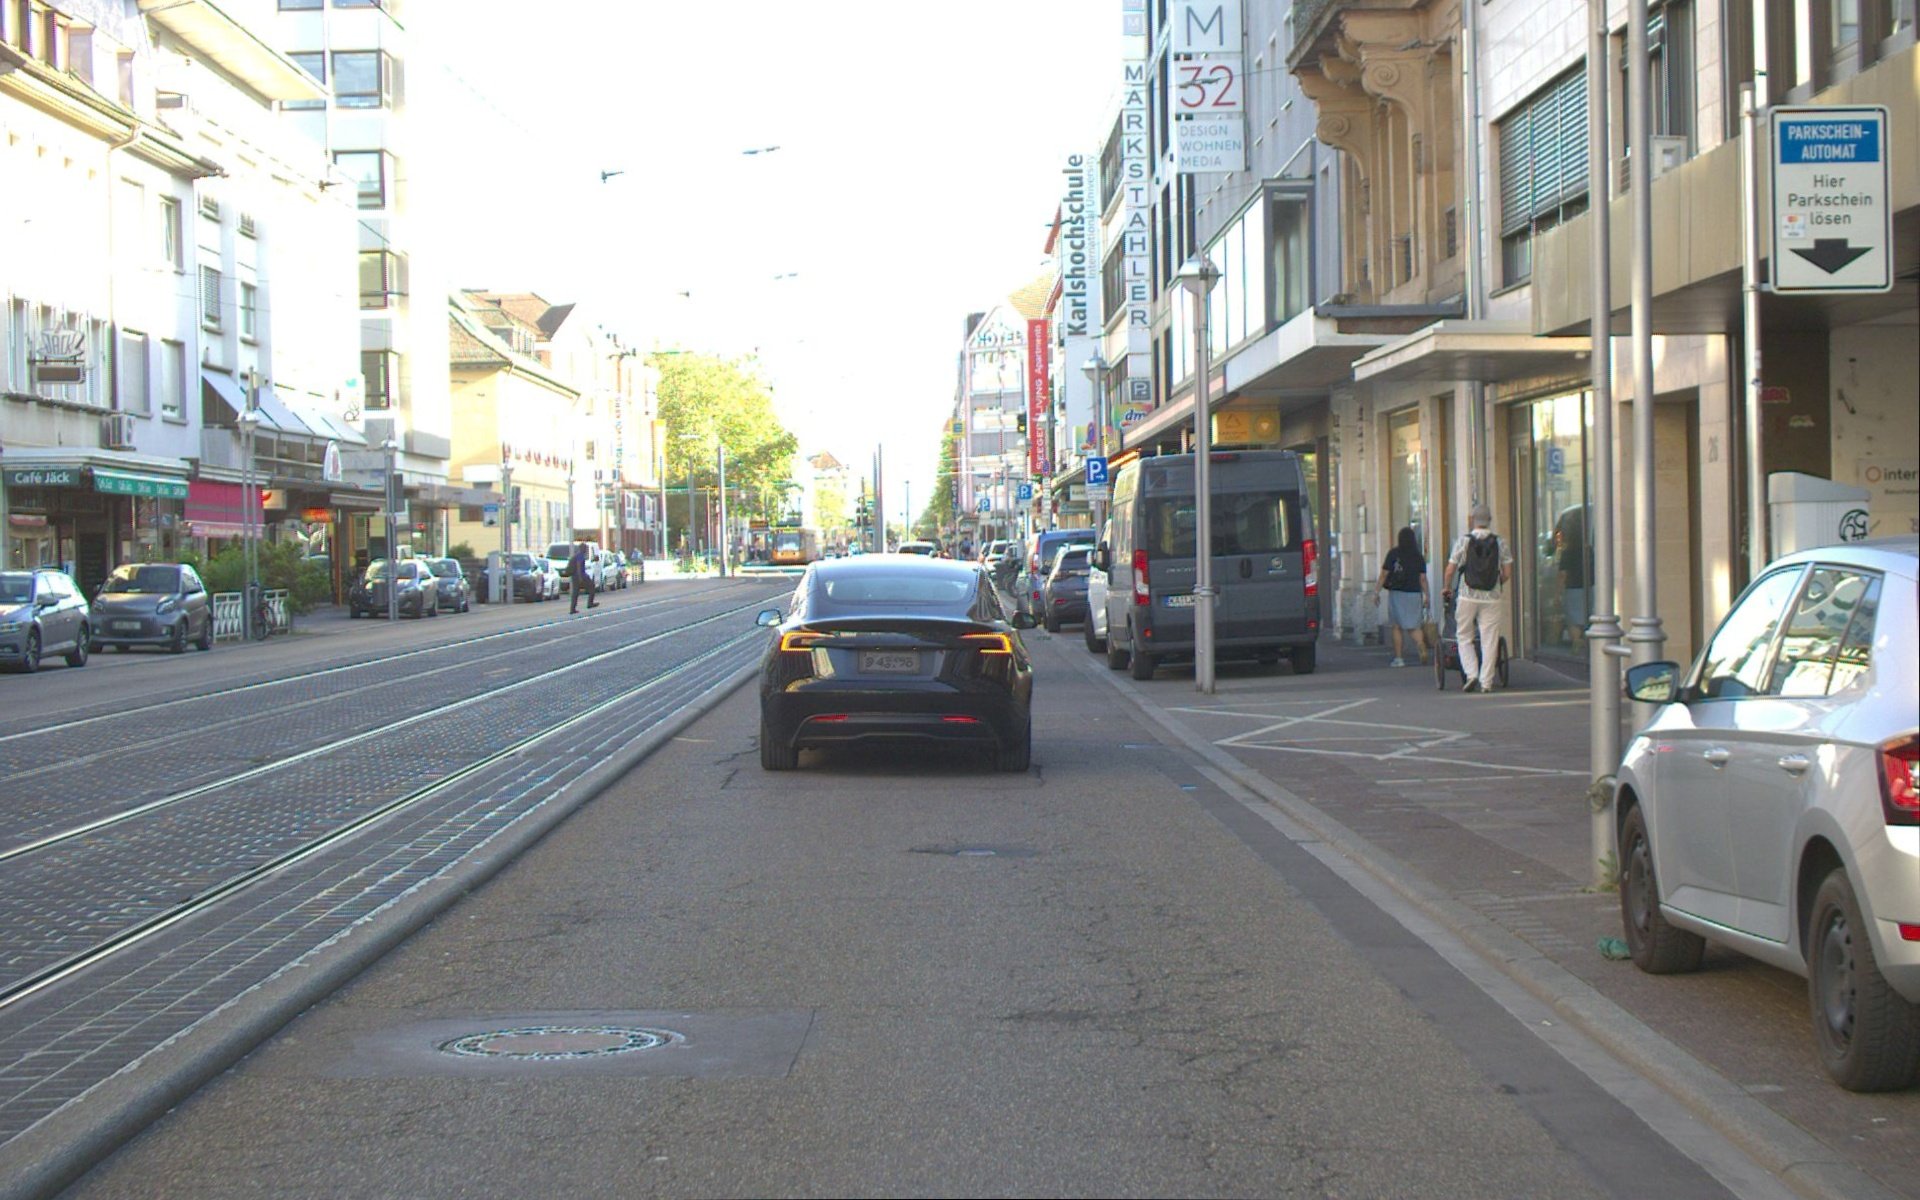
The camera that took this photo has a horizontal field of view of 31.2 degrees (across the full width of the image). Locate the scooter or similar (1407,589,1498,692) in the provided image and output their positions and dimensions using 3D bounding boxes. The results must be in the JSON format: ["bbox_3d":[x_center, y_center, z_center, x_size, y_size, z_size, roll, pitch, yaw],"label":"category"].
[{"bbox_3d":[4.749,0.382,33.222,0.593,0.933,1.299,-3,1,-2],"label":"scooter or similar"}]

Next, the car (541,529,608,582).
[{"bbox_3d":[-14.638,-1.703,130.767,2.009,1.954,4.725,-1,1,-1],"label":"car"}]

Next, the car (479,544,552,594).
[{"bbox_3d":[-14.397,-1.020,111.548,1.718,1.566,3.849,-1,1,2],"label":"car"}]

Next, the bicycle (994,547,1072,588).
[{"bbox_3d":[2.077,-0.927,98.225,2.159,1.093,0.686,-1,1,-2],"label":"bicycle"}]

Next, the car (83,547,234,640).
[{"bbox_3d":[-13.944,-0.134,59.988,1.675,1.540,3.743,1,1,1],"label":"car"}]

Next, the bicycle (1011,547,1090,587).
[{"bbox_3d":[2.556,-0.936,97.339,2.159,1.093,0.686,-1,1,-2],"label":"bicycle"}]

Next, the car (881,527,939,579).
[{"bbox_3d":[-1.832,-1.763,127.851,2.085,1.864,3.754,-1,1,0],"label":"car"}]

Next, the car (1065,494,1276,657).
[{"bbox_3d":[2.755,-0.362,46.158,2.158,1.920,4.618,-4,1,-3],"label":"car"}]

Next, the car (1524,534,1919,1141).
[{"bbox_3d":[3.009,0.540,10.621,1.745,1.457,4.296,-2,1,-1],"label":"car"}]

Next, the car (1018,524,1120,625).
[{"bbox_3d":[2.065,-0.523,66.151,1.821,1.864,3.754,-1,1,0],"label":"car"}]

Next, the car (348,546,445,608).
[{"bbox_3d":[-14.384,-0.610,87.953,1.770,1.503,3.864,-1,1,1],"label":"car"}]

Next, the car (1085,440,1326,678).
[{"bbox_3d":[2.740,-0.501,39.666,2.171,2.453,5.362,-3,1,-1],"label":"car"}]

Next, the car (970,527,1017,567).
[{"bbox_3d":[1.506,-2.387,155.533,1.993,1.747,4.000,-1,0,0],"label":"car"}]

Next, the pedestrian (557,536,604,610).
[{"bbox_3d":[-9.527,-0.675,86.346,0.772,1.842,0.827,-1,1,30],"label":"pedestrian"}]

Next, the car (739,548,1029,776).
[{"bbox_3d":[-0.495,0.370,24.571,1.869,1.422,4.365,-1,1,0],"label":"car"}]

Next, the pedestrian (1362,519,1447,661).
[{"bbox_3d":[4.998,-0.116,38.678,0.769,1.538,0.804,-3,1,0],"label":"pedestrian"}]

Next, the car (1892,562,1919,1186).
[{"bbox_3d":[3.092,0.647,5.914,1.848,1.457,4.302,-2,1,1],"label":"car"}]

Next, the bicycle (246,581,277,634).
[{"bbox_3d":[-13.588,0.139,66.863,0.368,0.999,1.605,-2,1,-19],"label":"bicycle"}]

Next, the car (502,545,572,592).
[{"bbox_3d":[-14.431,-1.086,117.394,1.770,1.503,3.972,-1,1,2],"label":"car"}]

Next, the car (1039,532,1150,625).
[{"bbox_3d":[2.316,-0.406,60.013,1.751,1.494,3.754,-2,1,0],"label":"car"}]

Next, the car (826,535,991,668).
[{"bbox_3d":[-0.574,0.000,39.574,1.761,1.414,4.354,-1,0,0],"label":"car"}]

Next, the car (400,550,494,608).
[{"bbox_3d":[-14.036,-0.589,94.215,1.770,1.503,3.860,-1,1,3],"label":"car"}]

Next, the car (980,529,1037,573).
[{"bbox_3d":[1.785,-1.801,127.037,1.993,1.537,4.000,-1,0,0],"label":"car"}]

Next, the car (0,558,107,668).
[{"bbox_3d":[-14.002,0.185,50.186,1.993,1.526,4.757,0,0,-1],"label":"car"}]

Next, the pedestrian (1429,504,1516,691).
[{"bbox_3d":[4.821,-0.031,32.371,0.556,1.708,0.955,-3,1,-2],"label":"pedestrian"}]
